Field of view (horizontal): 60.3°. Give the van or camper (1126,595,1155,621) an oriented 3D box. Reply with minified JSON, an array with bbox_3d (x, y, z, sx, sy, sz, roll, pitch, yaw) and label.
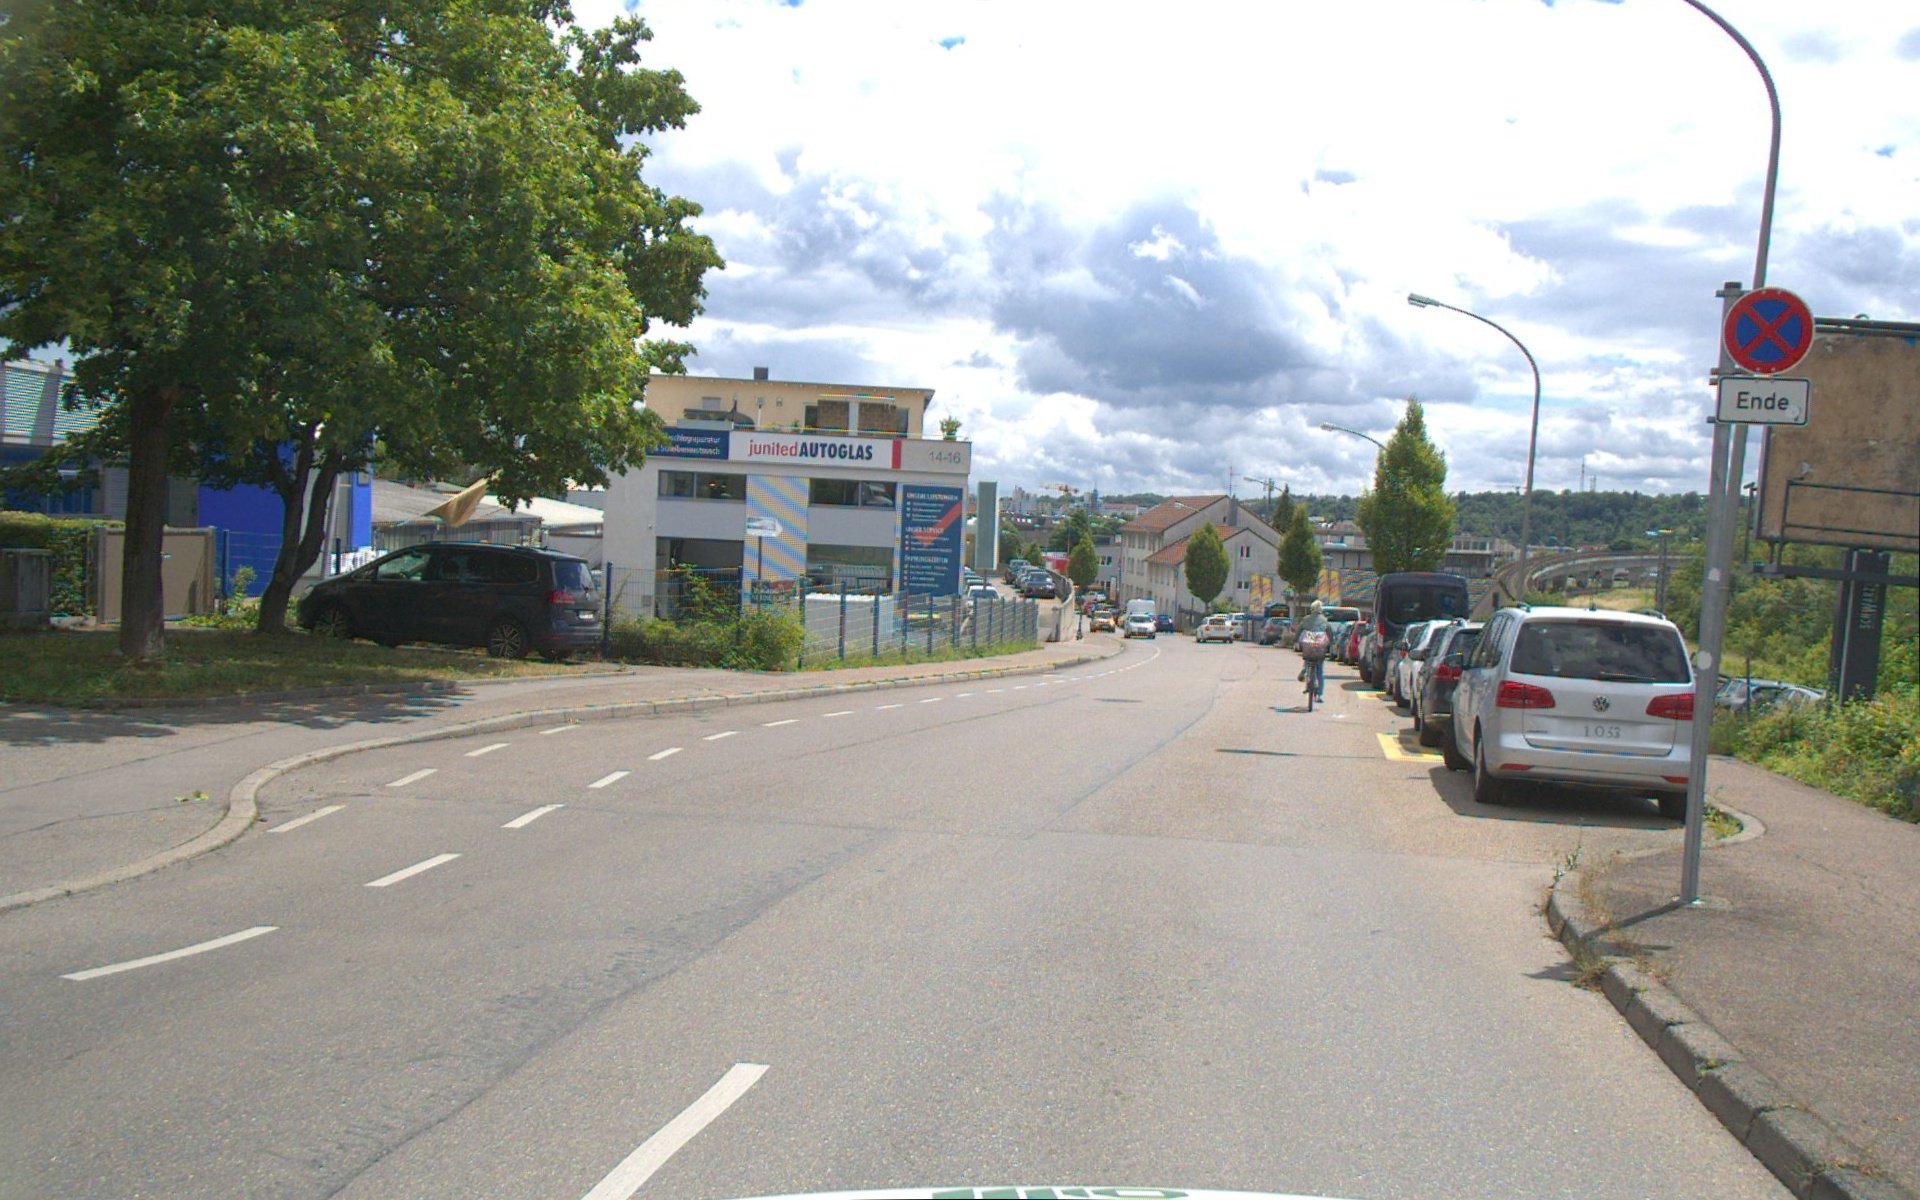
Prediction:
[{"bbox_3d":[15.997,0.688,146.863,1.953,2.048,3.999,5,0,-1],"label":"van or camper"}]

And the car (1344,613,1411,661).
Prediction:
[{"bbox_3d":[14.098,1.236,56.013,1.835,1.534,4.003,1,-1,9],"label":"car"}]

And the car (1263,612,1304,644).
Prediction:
[{"bbox_3d":[17.511,1.519,89.594,1.951,1.646,4.003,1,-1,8],"label":"car"}]

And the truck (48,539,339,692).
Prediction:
[{"bbox_3d":[-16.218,0.326,35.471,2.405,2.924,5.887,2,0,14],"label":"truck"}]

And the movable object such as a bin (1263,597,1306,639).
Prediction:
[{"bbox_3d":[18.508,1.020,94.428,2.089,2.343,2.559,1,-1,4],"label":"movable object such as a bin"}]

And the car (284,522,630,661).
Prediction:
[{"bbox_3d":[-7.700,-0.114,25.501,4.599,1.746,2.001,4,-1,12],"label":"car"}]

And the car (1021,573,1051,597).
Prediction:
[{"bbox_3d":[4.477,-0.901,98.029,1.636,1.346,3.719,2,1,1],"label":"car"}]

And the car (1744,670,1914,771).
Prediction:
[{"bbox_3d":[16.714,2.260,32.032,1.669,1.536,4.533,4,1,12],"label":"car"}]

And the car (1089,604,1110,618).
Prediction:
[{"bbox_3d":[14.808,1.191,175.582,1.952,1.490,4.000,1,-1,0],"label":"car"}]

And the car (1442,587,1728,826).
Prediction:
[{"bbox_3d":[5.380,0.809,14.764,1.669,1.707,4.311,4,0,12],"label":"car"}]

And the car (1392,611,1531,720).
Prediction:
[{"bbox_3d":[8.026,0.992,26.734,1.669,1.505,3.961,4,1,11],"label":"car"}]

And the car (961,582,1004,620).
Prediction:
[{"bbox_3d":[0.995,0.042,75.718,1.810,1.679,3.999,1,0,-1],"label":"car"}]

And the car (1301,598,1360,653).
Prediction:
[{"bbox_3d":[15.075,1.032,67.476,1.951,2.049,4.922,3,0,9],"label":"car"}]

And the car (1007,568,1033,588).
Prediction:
[{"bbox_3d":[4.209,-1.545,116.237,1.636,1.346,3.718,1,1,-1],"label":"car"}]

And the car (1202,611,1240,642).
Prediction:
[{"bbox_3d":[14.563,1.470,92.376,1.951,1.646,4.003,1,-1,7],"label":"car"}]

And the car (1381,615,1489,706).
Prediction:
[{"bbox_3d":[9.156,1.123,32.084,1.669,1.536,3.699,4,0,12],"label":"car"}]

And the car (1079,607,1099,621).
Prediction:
[{"bbox_3d":[14.221,1.530,182.226,1.952,1.490,4.000,1,-1,0],"label":"car"}]

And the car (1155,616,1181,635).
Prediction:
[{"bbox_3d":[17.253,2.087,137.300,1.951,1.490,4.002,1,-1,5],"label":"car"}]

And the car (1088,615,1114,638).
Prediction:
[{"bbox_3d":[10.378,1.953,121.895,1.673,1.601,4.000,1,-1,1],"label":"car"}]

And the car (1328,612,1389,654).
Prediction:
[{"bbox_3d":[14.575,1.207,60.620,1.862,1.467,3.546,1,-1,8],"label":"car"}]

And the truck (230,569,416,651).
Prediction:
[{"bbox_3d":[-22.438,0.359,58.413,5.663,2.754,2.177,1,-1,-1],"label":"truck"}]

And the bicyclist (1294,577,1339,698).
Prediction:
[{"bbox_3d":[5.639,0.585,26.146,0.670,1.858,1.081,1,-1,13],"label":"bicyclist"}]

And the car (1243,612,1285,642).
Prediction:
[{"bbox_3d":[18.188,1.621,99.091,2.089,1.736,4.002,1,-1,4],"label":"car"}]

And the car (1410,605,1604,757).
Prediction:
[{"bbox_3d":[6.500,0.874,20.082,1.669,1.512,4.576,4,1,12],"label":"car"}]

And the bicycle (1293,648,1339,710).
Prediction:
[{"bbox_3d":[5.646,1.226,26.186,0.673,0.893,2.103,1,-1,13],"label":"bicycle"}]

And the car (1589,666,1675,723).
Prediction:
[{"bbox_3d":[20.607,2.875,50.840,1.755,1.532,3.882,1,-1,11],"label":"car"}]

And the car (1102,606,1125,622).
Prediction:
[{"bbox_3d":[15.188,1.383,164.142,1.952,1.490,4.000,1,-1,0],"label":"car"}]

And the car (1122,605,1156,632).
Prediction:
[{"bbox_3d":[11.016,1.130,102.015,1.667,1.589,4.328,1,0,1],"label":"car"}]

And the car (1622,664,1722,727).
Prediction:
[{"bbox_3d":[19.674,2.603,45.848,1.755,1.532,3.882,1,-1,11],"label":"car"}]

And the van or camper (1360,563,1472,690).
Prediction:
[{"bbox_3d":[10.463,0.604,38.297,2.079,2.630,5.922,2,0,12],"label":"van or camper"}]

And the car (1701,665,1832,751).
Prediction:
[{"bbox_3d":[17.745,2.336,36.554,1.669,1.536,3.699,4,0,12],"label":"car"}]

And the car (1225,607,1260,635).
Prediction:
[{"bbox_3d":[17.834,1.332,104.625,1.775,1.736,4.002,1,-1,4],"label":"car"}]

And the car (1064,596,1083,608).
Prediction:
[{"bbox_3d":[13.560,0.247,198.213,1.953,1.445,3.999,1,-1,-1],"label":"car"}]
